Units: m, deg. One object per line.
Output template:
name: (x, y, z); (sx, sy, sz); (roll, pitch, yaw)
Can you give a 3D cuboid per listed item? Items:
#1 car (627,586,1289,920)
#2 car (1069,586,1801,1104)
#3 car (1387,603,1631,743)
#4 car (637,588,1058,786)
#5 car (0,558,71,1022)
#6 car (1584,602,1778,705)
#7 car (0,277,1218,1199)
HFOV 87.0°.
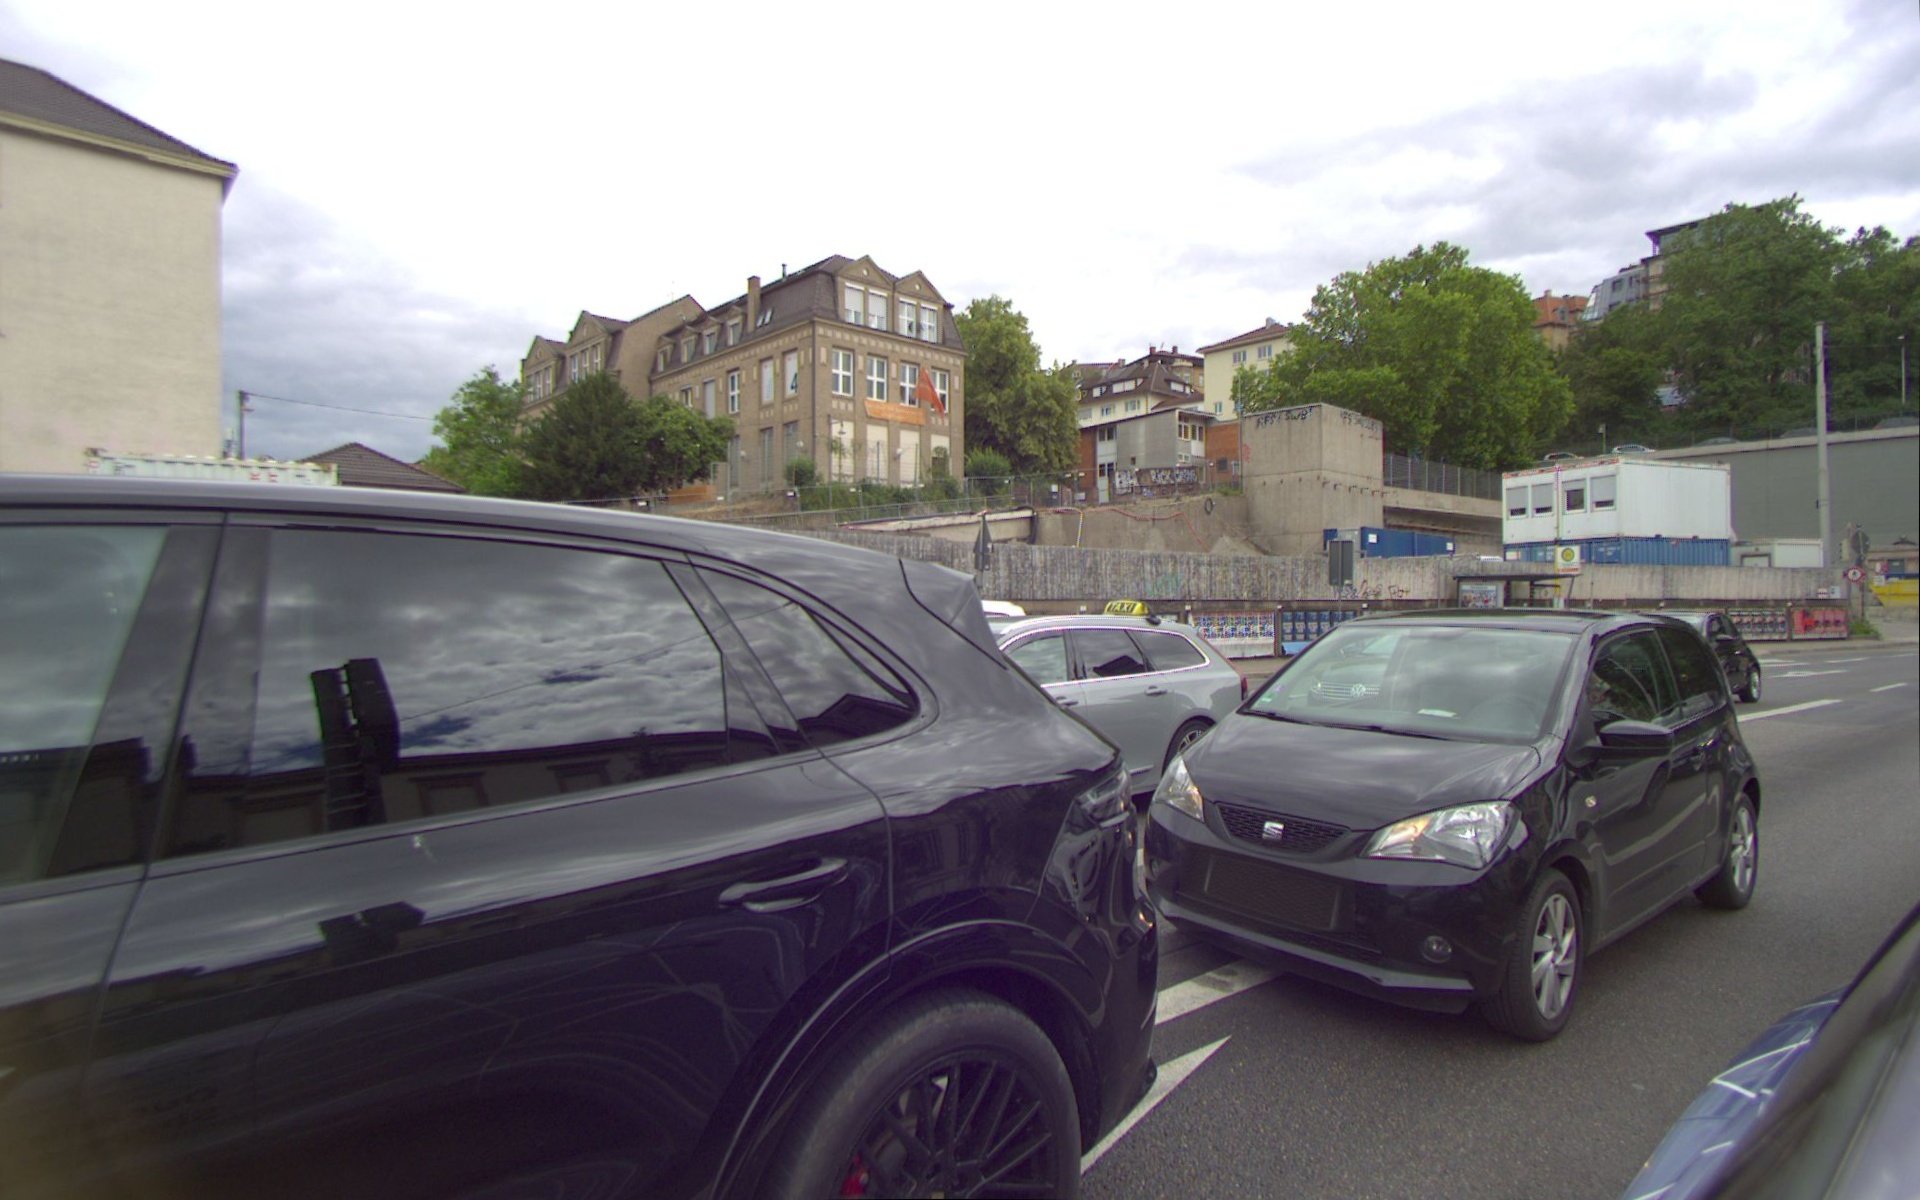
car: (0.261, 0.733, 7.262); (4.725, 1.645, 1.827); (-1, 0, -41)
car: (2.428, 0.681, 4.791); (3.636, 1.476, 1.827); (-1, 0, -41)
car: (6.818, 0.783, 12.476); (3.100, 1.449, 1.664); (-1, 0, -41)
car: (-1.015, 0.709, 10.479); (4.136, 1.645, 1.679); (-1, 0, -41)
car: (-5.313, 0.689, 3.040); (3.930, 1.645, 1.679); (-1, 0, -41)
car: (11.500, 0.752, 16.054); (3.740, 1.383, 1.679); (-1, 0, -41)
car: (-1.663, 0.550, 1.573); (4.406, 1.737, 1.827); (-1, 0, -41)
